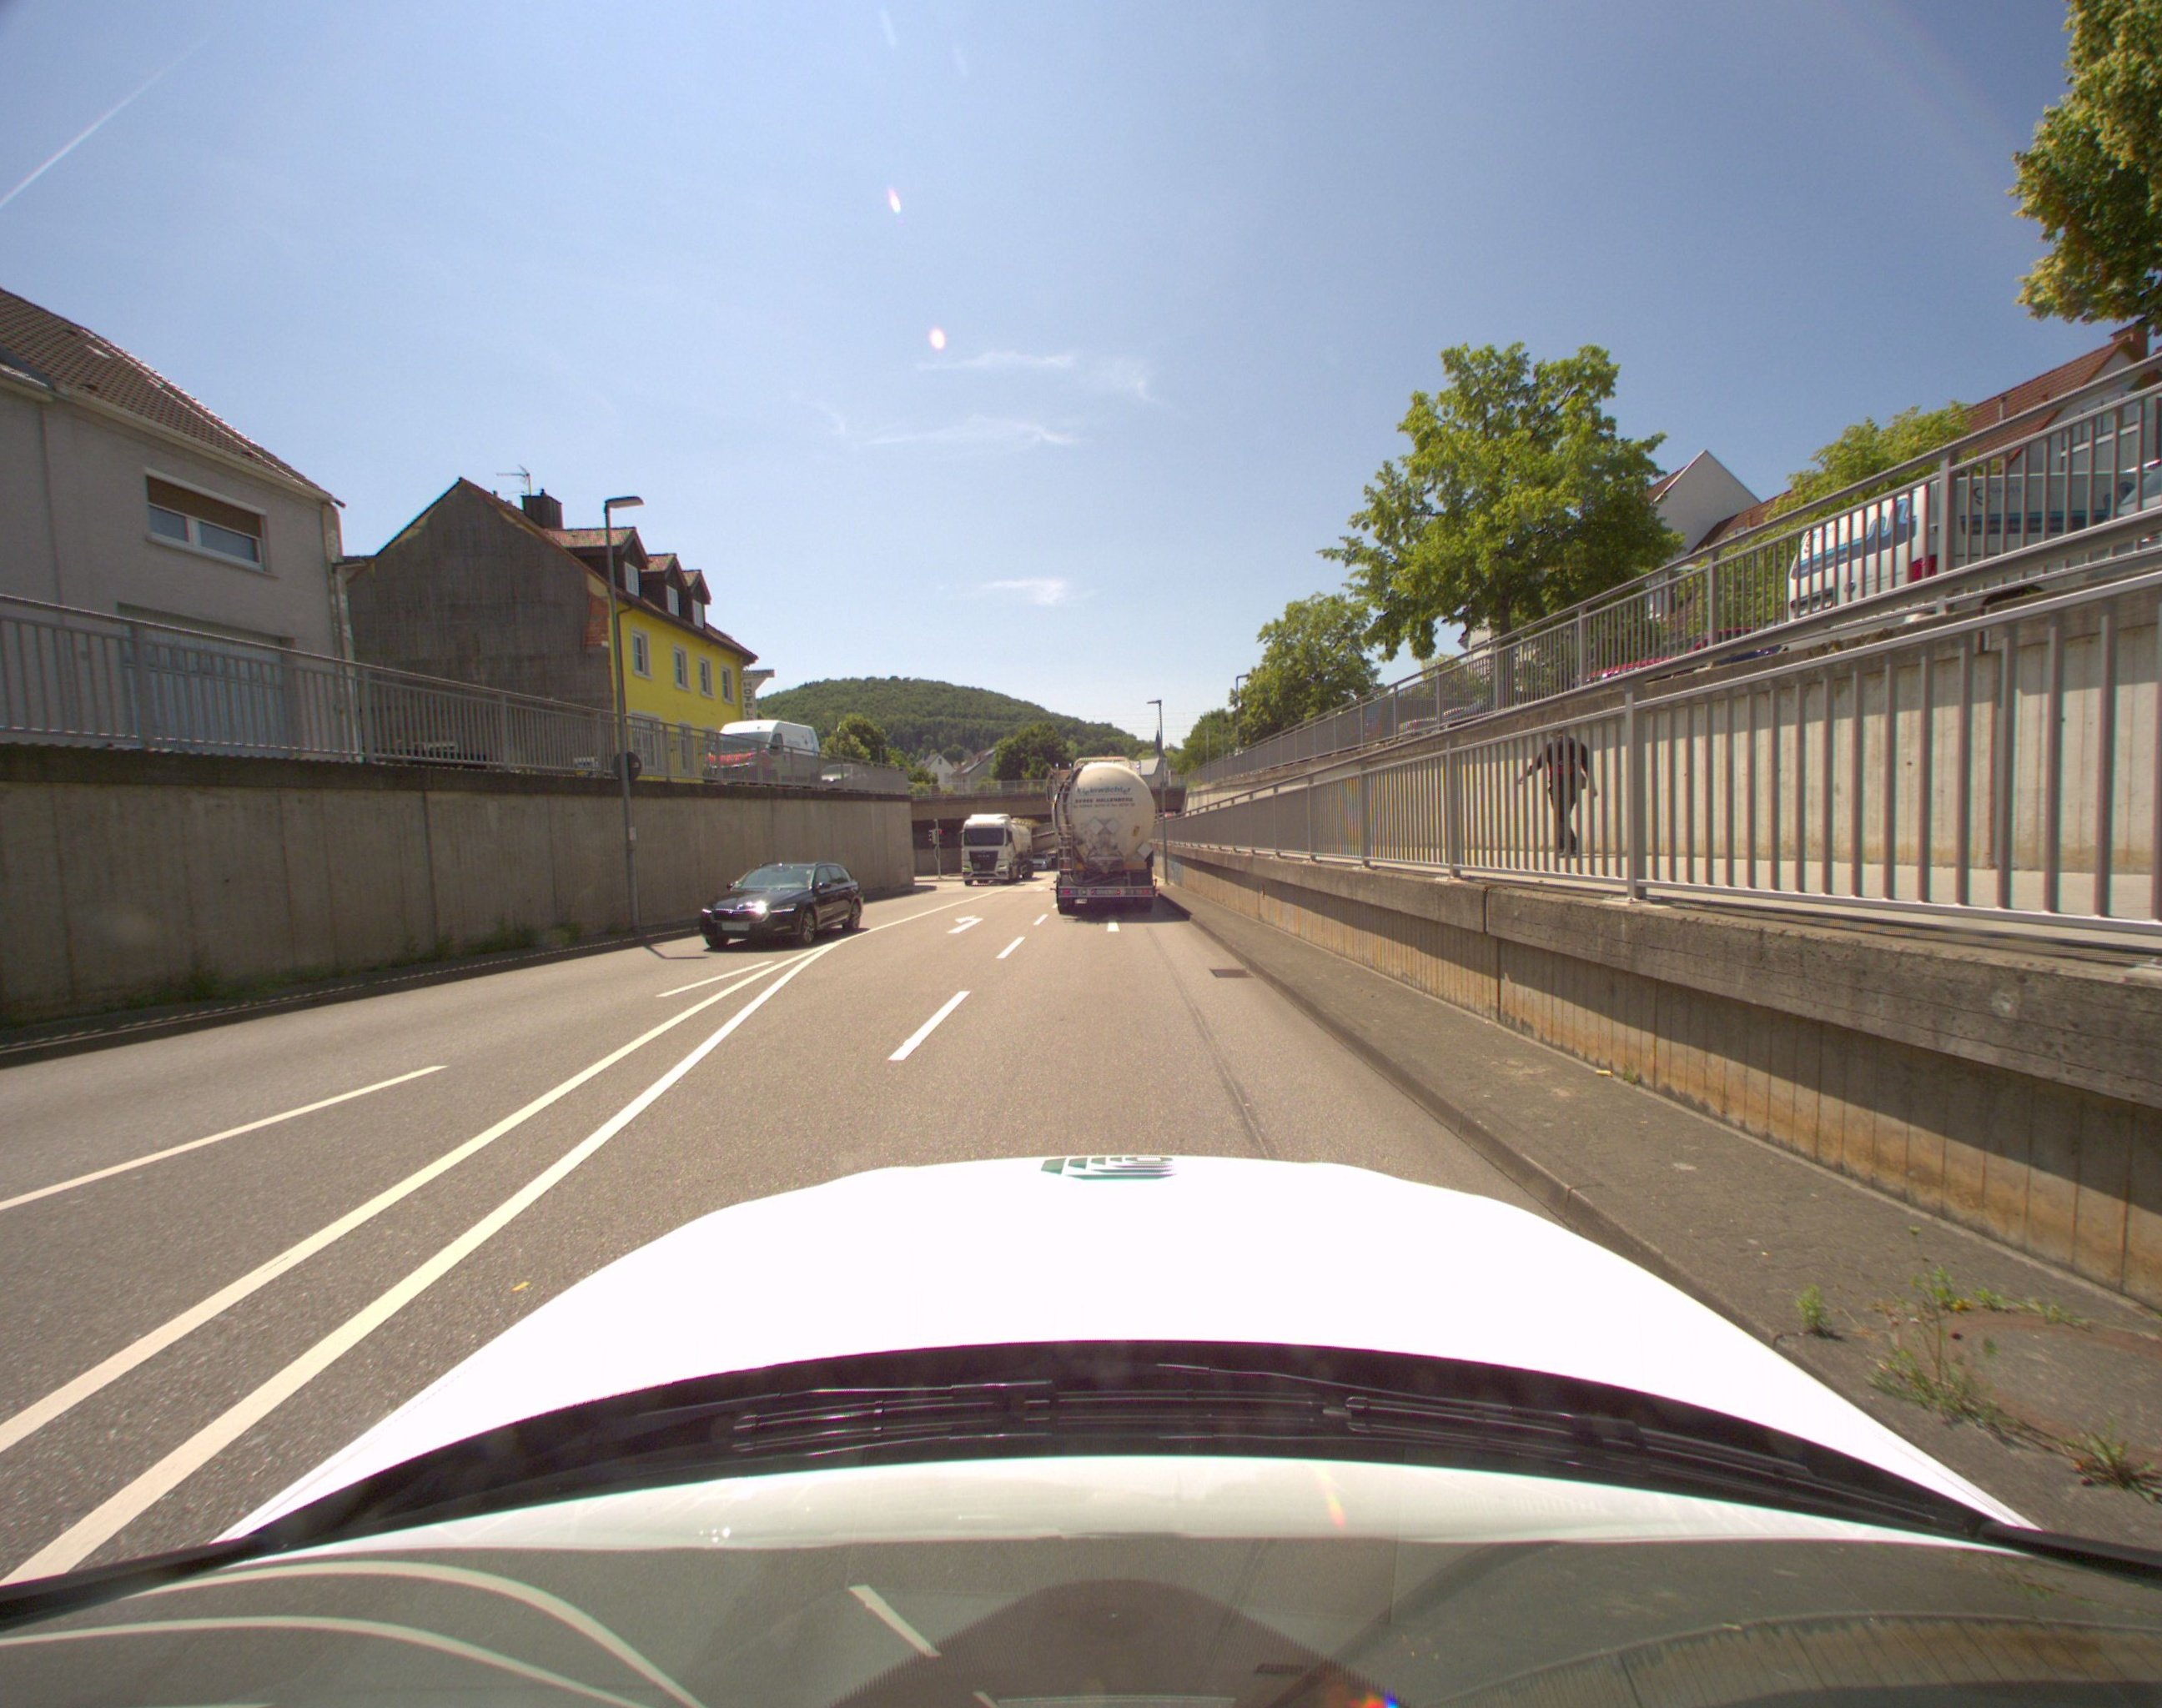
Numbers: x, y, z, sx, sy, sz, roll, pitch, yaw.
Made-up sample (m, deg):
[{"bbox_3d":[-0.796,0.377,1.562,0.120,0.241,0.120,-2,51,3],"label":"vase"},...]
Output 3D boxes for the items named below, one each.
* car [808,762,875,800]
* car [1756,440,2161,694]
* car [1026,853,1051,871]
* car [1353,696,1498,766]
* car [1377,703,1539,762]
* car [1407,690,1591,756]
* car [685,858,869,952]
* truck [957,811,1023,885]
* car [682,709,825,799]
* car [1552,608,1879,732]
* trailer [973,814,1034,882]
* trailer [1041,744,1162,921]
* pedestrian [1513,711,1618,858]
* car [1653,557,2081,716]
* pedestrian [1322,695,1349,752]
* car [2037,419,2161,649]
[{"bbox_3d":[-10.433,-3.153,35.814,1.612,1.500,4.047,-1,3,1],"label":"car"},{"bbox_3d":[10.801,-3.050,8.938,5.092,2.063,1.990,-2,3,2],"label":"car"},{"bbox_3d":[-3.609,0.641,69.856,1.675,1.440,4.096,1,0,2],"label":"car"},{"bbox_3d":[10.899,-3.868,25.940,3.890,1.884,1.688,-2,3,2],"label":"car"},{"bbox_3d":[10.795,-3.481,23.507,3.890,1.367,1.688,-2,3,2],"label":"car"},{"bbox_3d":[10.726,-3.349,21.067,3.890,1.367,1.688,-2,3,2],"label":"car"},{"bbox_3d":[-5.559,0.852,15.565,1.754,1.489,4.370,-1,0,1],"label":"car"},{"bbox_3d":[-5.064,-0.310,46.550,2.651,3.860,6.584,-1,0,2],"label":"truck"},{"bbox_3d":[-10.555,-3.152,26.870,2.056,2.535,5.668,0,3,3],"label":"car"},{"bbox_3d":[10.552,-3.039,13.777,4.188,1.595,1.688,-2,3,2],"label":"car"},{"bbox_3d":[-4.814,-0.345,52.407,2.600,3.964,9.351,-1,0,2],"label":"trailer"},{"bbox_3d":[0.731,-0.483,25.560,2.724,4.064,13.319,-1,0,2],"label":"trailer"},{"bbox_3d":[6.202,-0.860,10.465,0.833,1.782,0.789,-2,0,2],"label":"pedestrian"},{"bbox_3d":[10.539,-2.895,11.171,4.188,1.595,1.688,-2,3,2],"label":"car"},{"bbox_3d":[8.415,-4.294,26.959,0.670,1.779,0.595,-2,2,3],"label":"pedestrian"},{"bbox_3d":[10.468,-2.648,6.245,4.188,1.595,1.688,-2,3,2],"label":"car"}]
